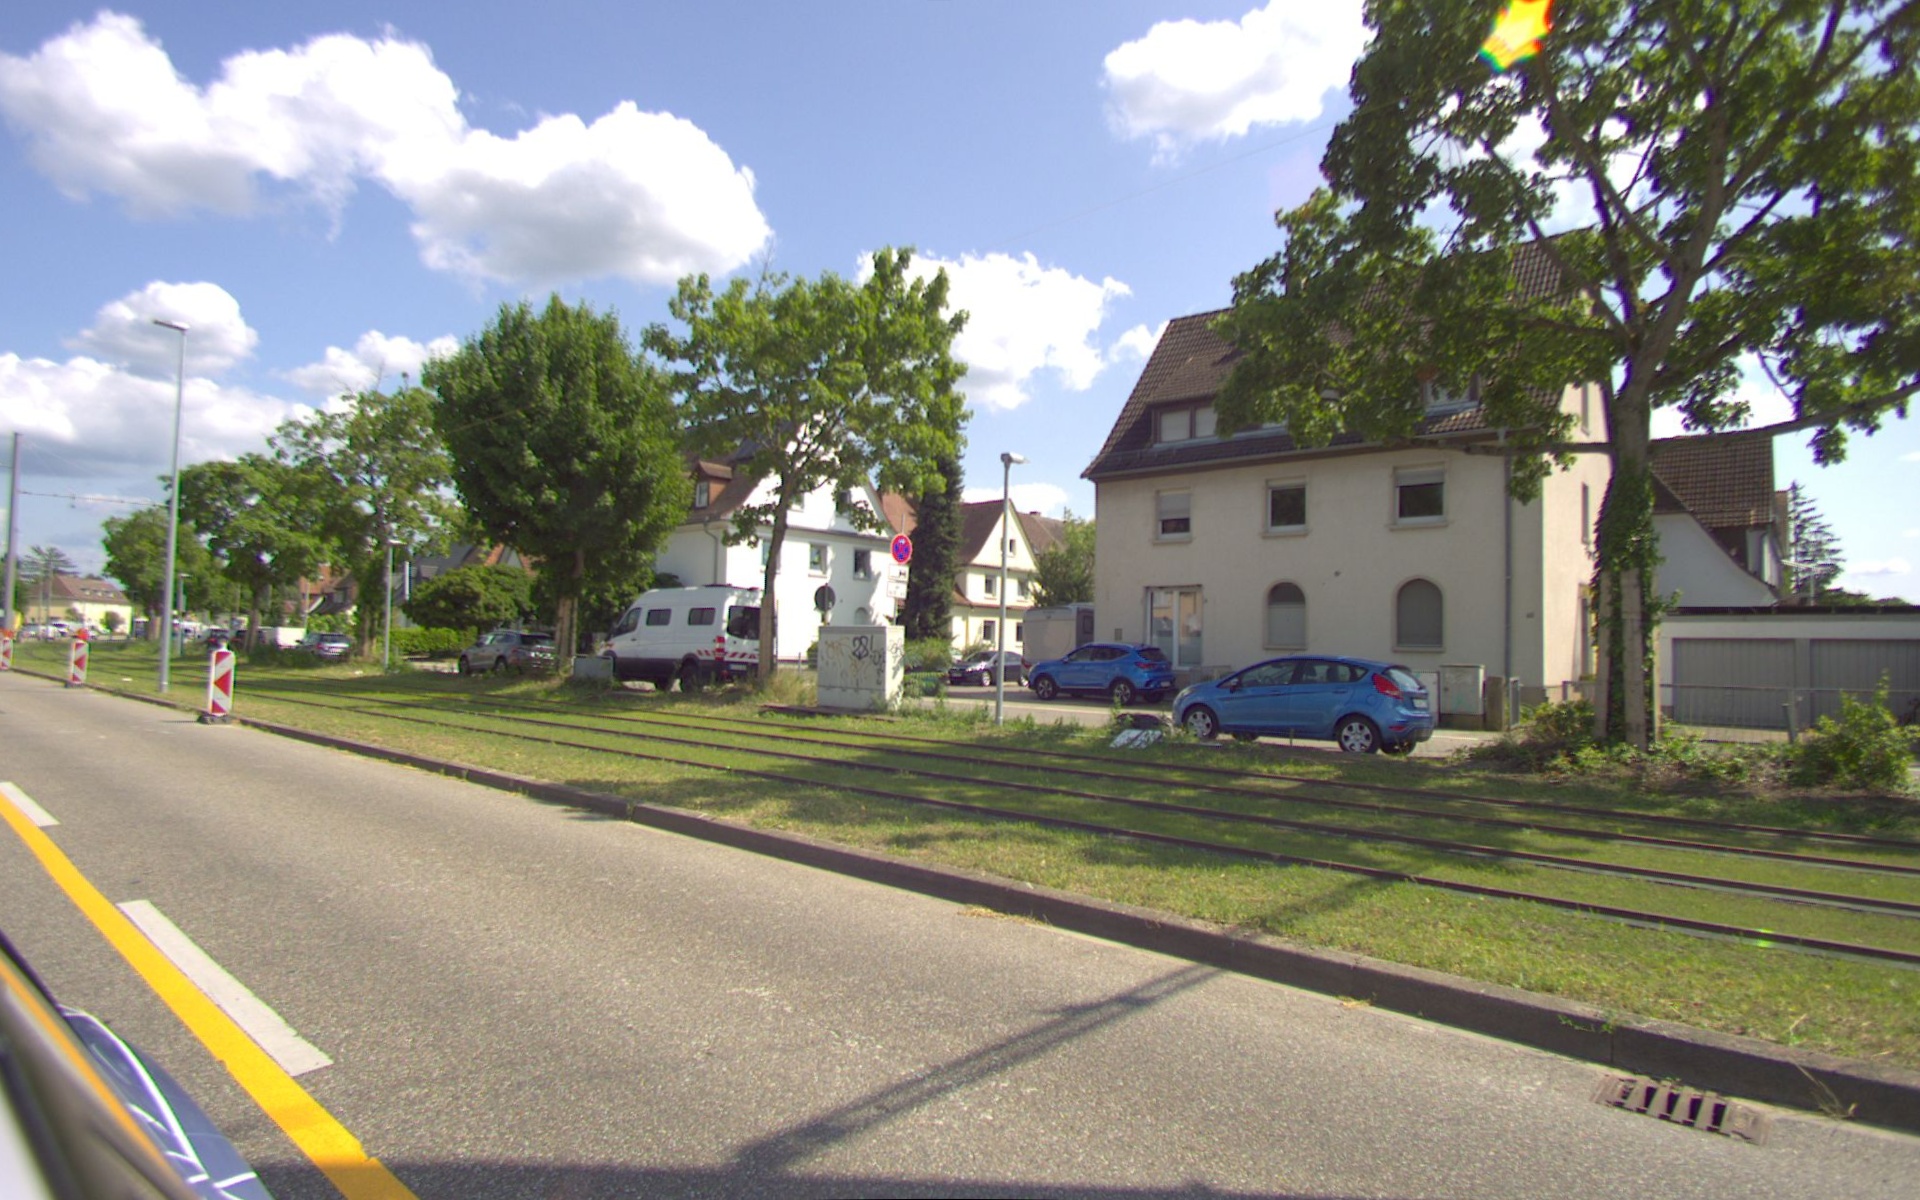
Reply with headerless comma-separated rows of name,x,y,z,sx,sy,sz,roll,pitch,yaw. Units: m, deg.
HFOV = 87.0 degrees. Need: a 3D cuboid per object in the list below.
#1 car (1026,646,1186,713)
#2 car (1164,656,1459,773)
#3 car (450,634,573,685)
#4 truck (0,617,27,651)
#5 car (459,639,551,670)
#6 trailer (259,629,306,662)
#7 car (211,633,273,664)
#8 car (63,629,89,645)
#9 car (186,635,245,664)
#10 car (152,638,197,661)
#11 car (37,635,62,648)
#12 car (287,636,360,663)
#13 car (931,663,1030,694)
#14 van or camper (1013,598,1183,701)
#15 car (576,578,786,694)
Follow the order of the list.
car,3.979,2.129,27.950,3.999,1.589,1.882,-1,-1,42
car,5.262,1.650,15.441,3.890,1.446,1.734,-1,-4,44
car,-14.858,1.939,33.433,4.485,1.517,1.972,-1,-4,42
truck,-99.768,3.521,105.295,2.660,3.392,8.069,4,-5,-34
car,-24.230,2.944,53.992,1.999,1.539,3.945,-5,-7,41
trailer,-33.270,2.234,49.691,2.281,1.530,1.285,-1,-5,41
car,-40.427,2.766,56.927,4.100,1.590,1.885,-3,-9,43
car,-121.031,5.063,138.611,1.811,2.070,3.880,4,-4,-29
car,-44.350,2.955,60.261,4.322,1.551,1.972,-1,-4,42
car,-57.327,3.611,73.843,4.324,1.551,1.971,-1,-4,45
car,-113.075,5.107,125.709,1.489,1.510,3.584,4,-4,-31
car,-29.100,2.267,46.208,3.835,1.101,1.762,-1,-4,42
car,0.883,3.242,41.734,1.999,1.143,3.945,-1,-4,41
van or camper,4.961,1.779,35.316,2.633,3.246,6.657,-2,-4,41
car,-7.550,0.984,26.952,6.457,2.751,1.973,-2,-5,40
